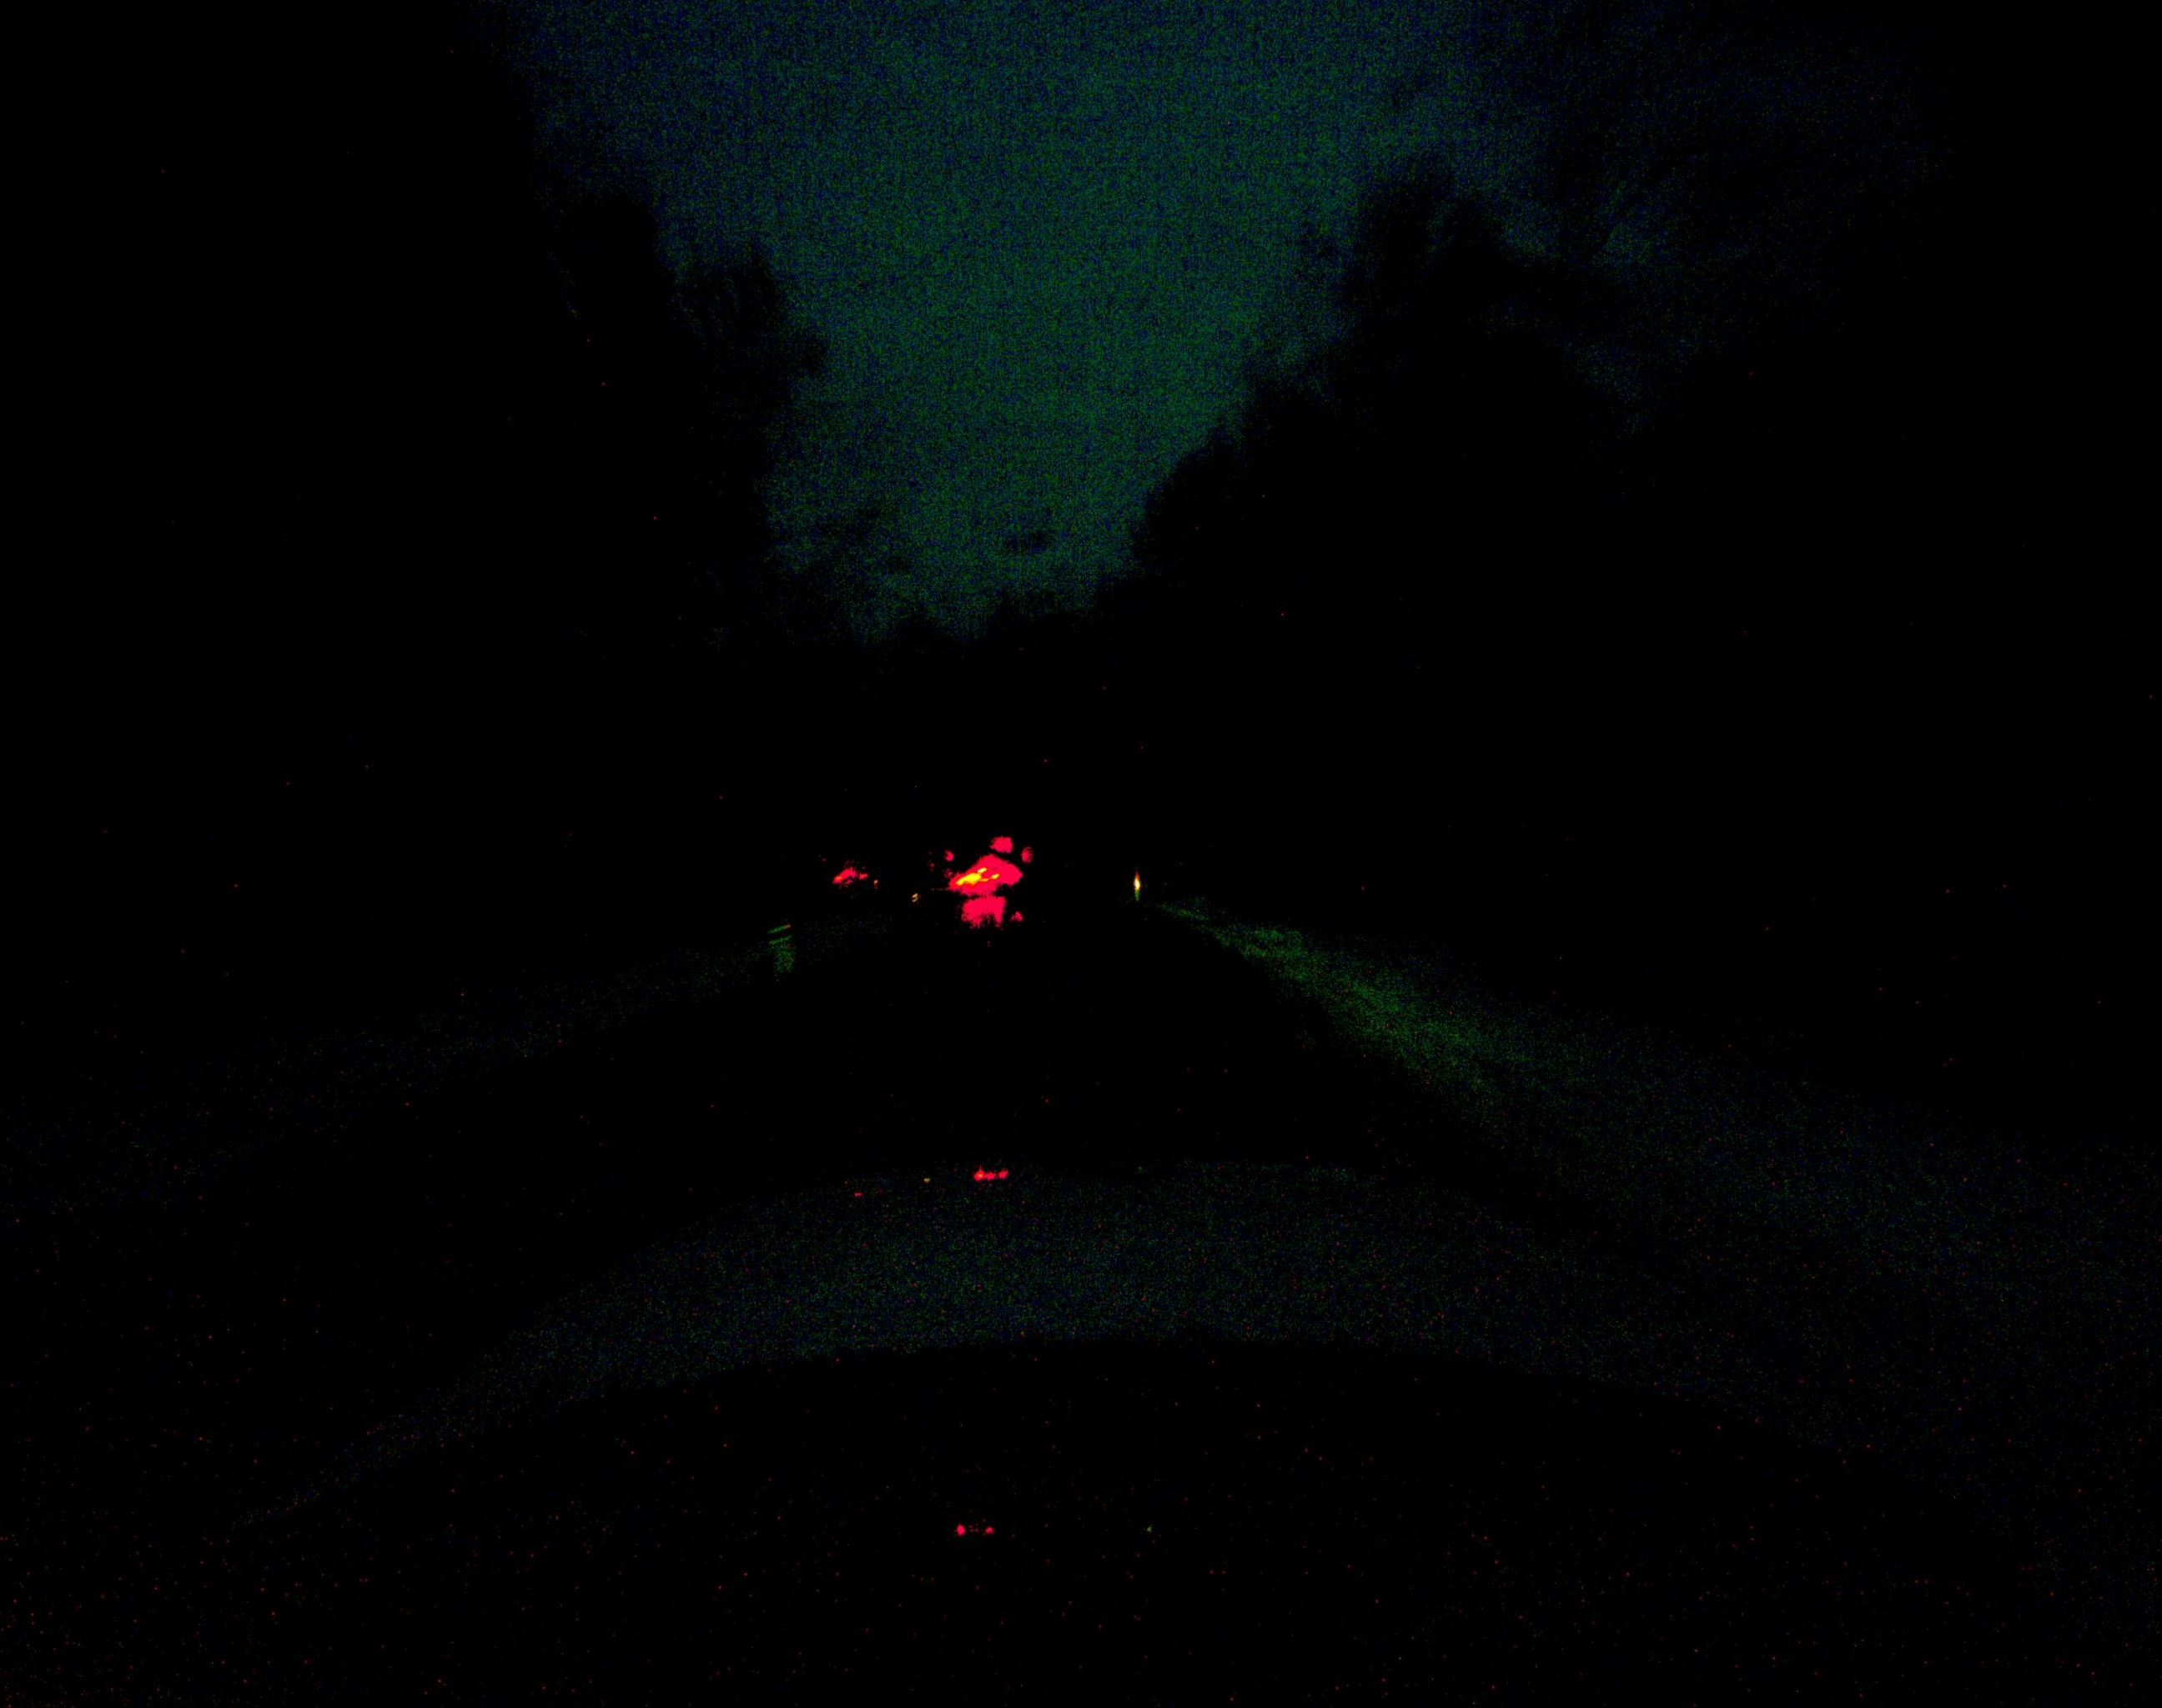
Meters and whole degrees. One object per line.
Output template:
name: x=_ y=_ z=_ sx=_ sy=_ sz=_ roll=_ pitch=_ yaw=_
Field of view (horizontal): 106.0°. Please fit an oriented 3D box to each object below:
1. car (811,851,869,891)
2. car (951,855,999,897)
car: x=-17.501 y=1.270 z=59.049 sx=2.271 sy=2.645 sz=4.949 roll=-3 pitch=0 yaw=-38
car: x=-5.543 y=1.133 z=42.230 sx=1.996 sy=2.052 sz=3.981 roll=-1 pitch=-1 yaw=-14
